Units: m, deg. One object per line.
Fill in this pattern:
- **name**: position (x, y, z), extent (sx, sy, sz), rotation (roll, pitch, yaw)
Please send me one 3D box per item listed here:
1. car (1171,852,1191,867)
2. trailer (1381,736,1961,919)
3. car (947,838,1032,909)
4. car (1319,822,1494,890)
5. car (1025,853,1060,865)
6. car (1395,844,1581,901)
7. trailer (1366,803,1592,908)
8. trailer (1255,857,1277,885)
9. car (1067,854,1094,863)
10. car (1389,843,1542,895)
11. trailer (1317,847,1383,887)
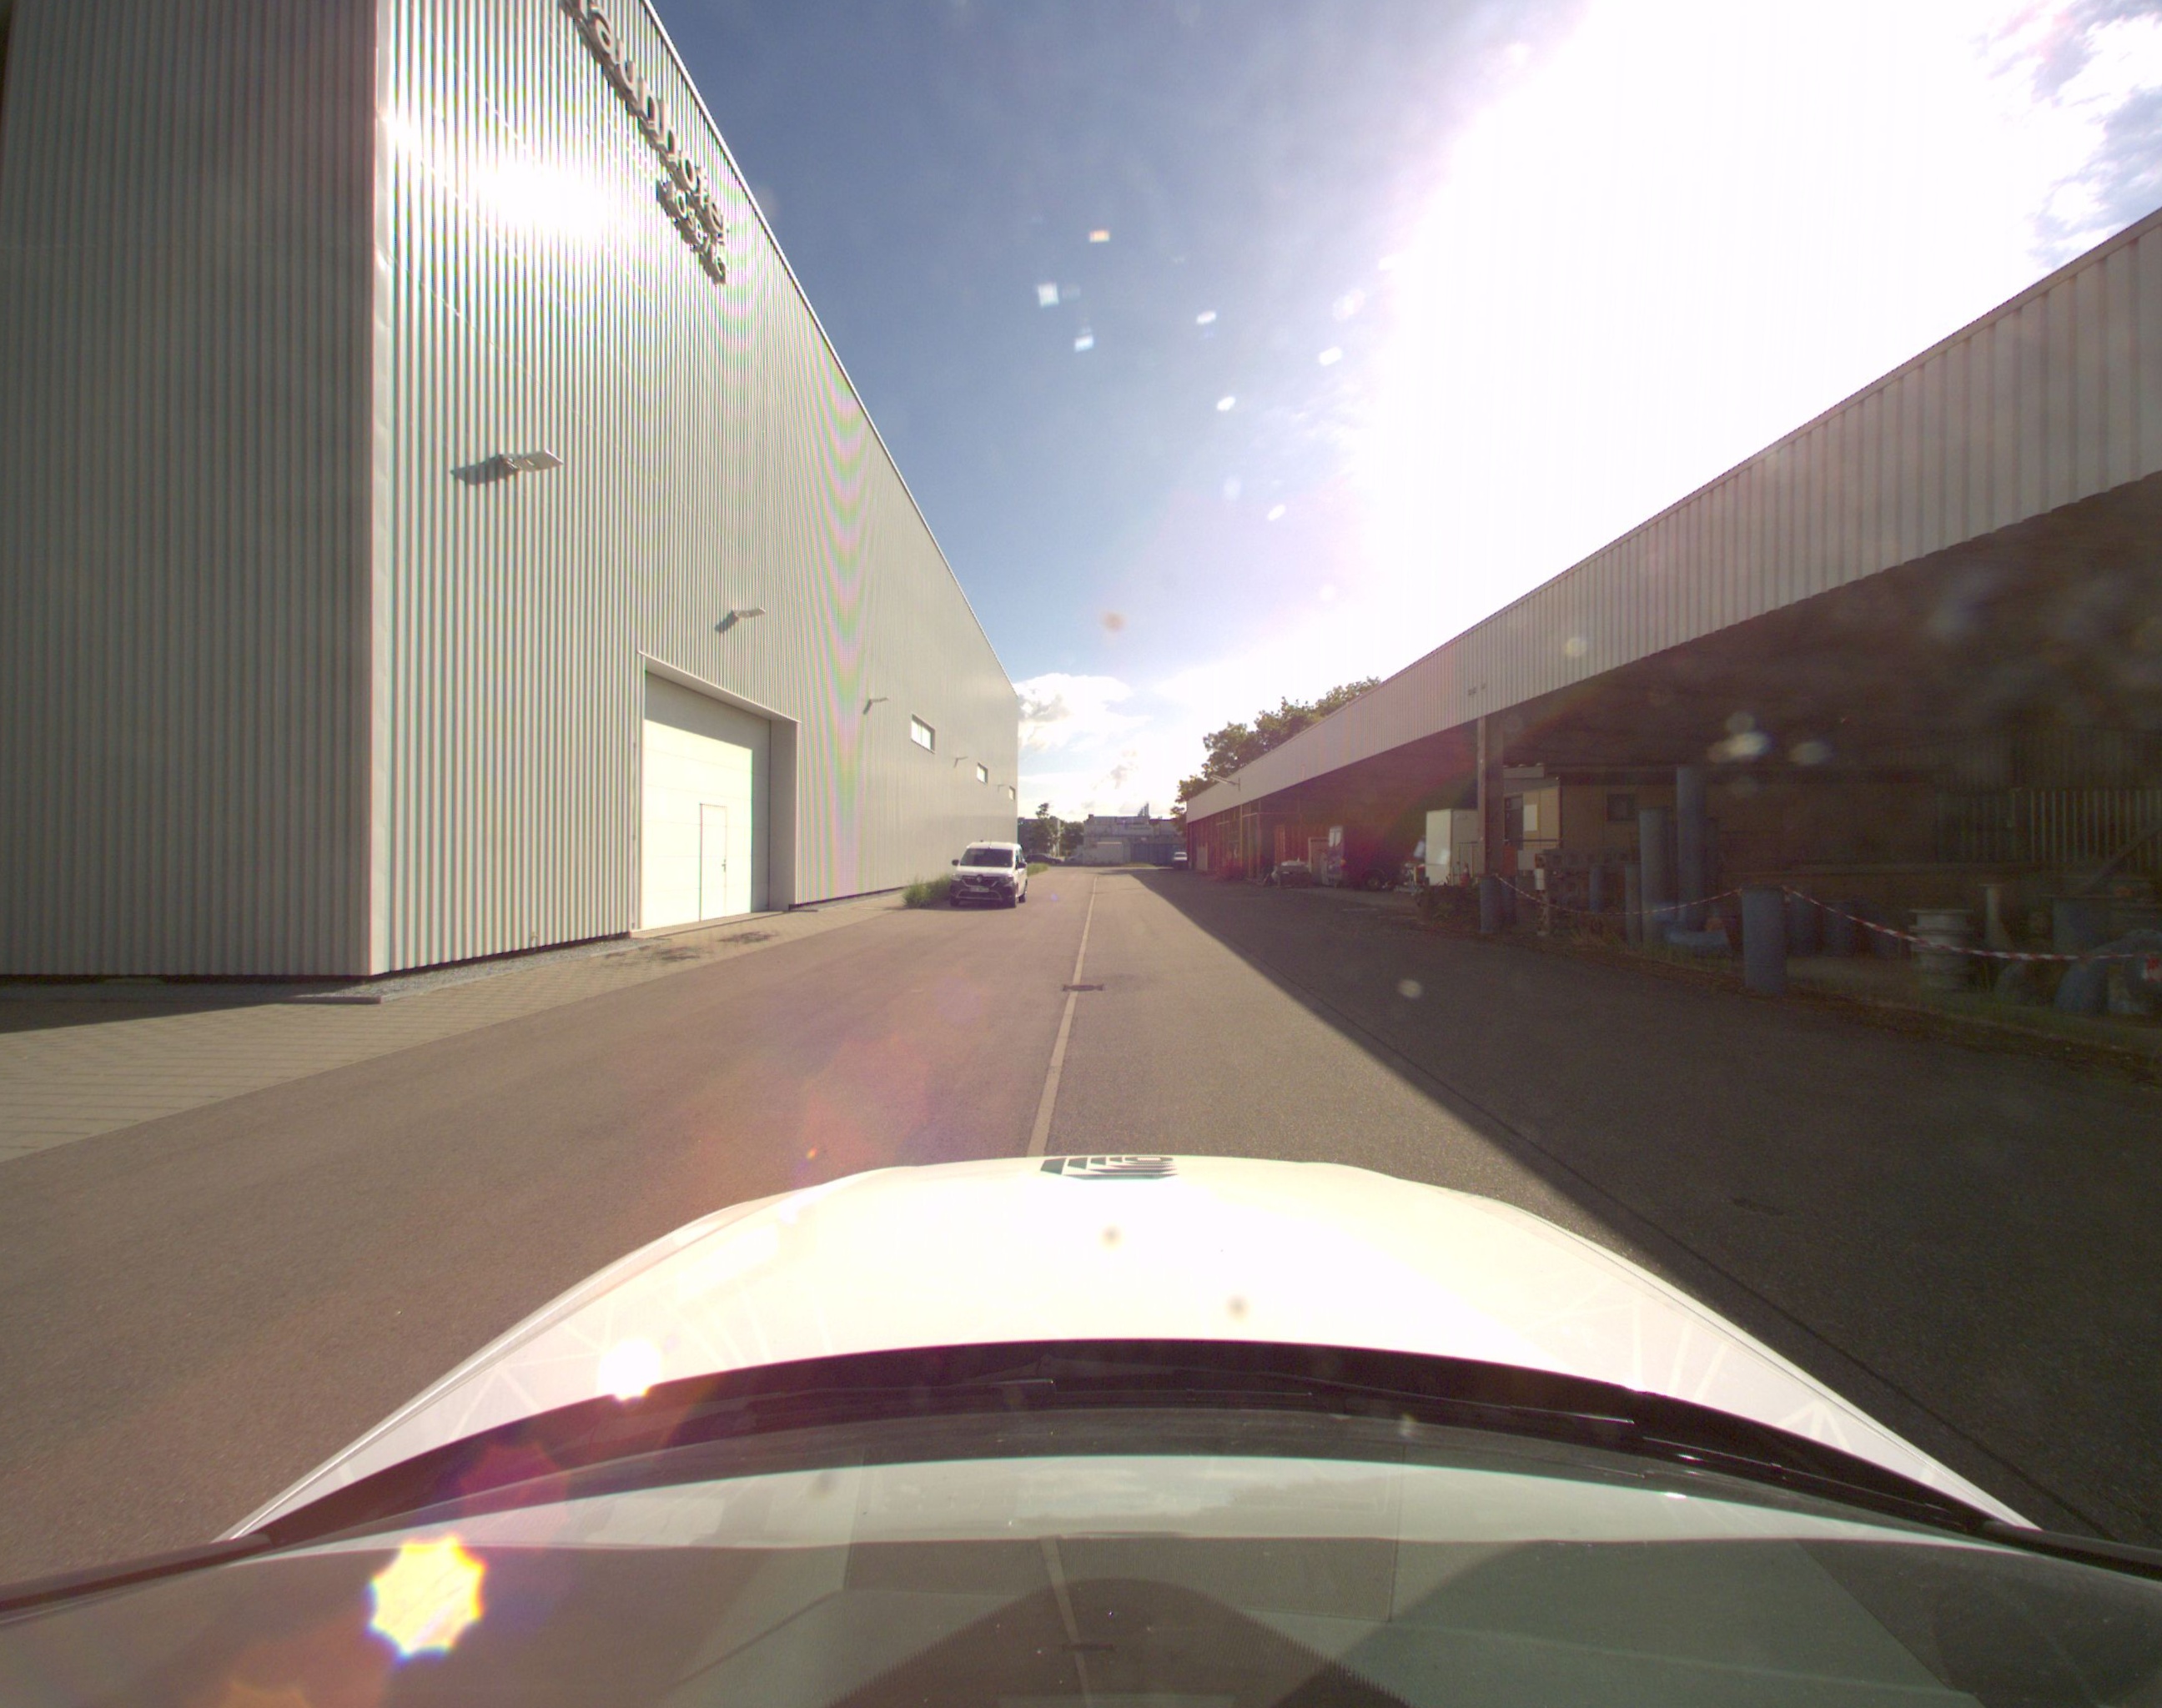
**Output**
- **car**: position (11.370, 0.611, 92.998), extent (1.971, 1.602, 4.381), rotation (-1, 1, 3)
- **trailer**: position (12.068, -0.514, 17.385), extent (10.230, 3.343, 2.802), rotation (-1, 0, 1)
- **car**: position (-2.542, 0.518, 23.663), extent (1.777, 1.816, 4.602), rotation (1, 0, 1)
- **car**: position (11.361, 0.076, 28.688), extent (5.314, 2.281, 2.152), rotation (-1, -1, 0)
- **car**: position (-4.938, 0.656, 105.673), extent (4.432, 1.531, 1.824), rotation (-1, -1, 0)
- **car**: position (11.121, 0.482, 22.448), extent (4.237, 1.471, 1.868), rotation (-1, 0, -2)
- **trailer**: position (9.577, 0.044, 19.913), extent (4.499, 2.342, 2.048), rotation (-1, -1, 2)
- **trailer**: position (7.813, 0.713, 34.455), extent (0.550, 1.118, 1.546), rotation (-1, -1, 0)
- **car**: position (-0.032, 0.783, 133.512), extent (4.288, 1.457, 1.824), rotation (-1, -1, 0)
- **car**: position (11.965, 0.462, 25.523), extent (3.953, 1.514, 1.839), rotation (-1, -1, -2)
- **trailer**: position (10.312, 0.489, 31.313), extent (2.028, 1.466, 1.741), rotation (-1, 0, 5)
